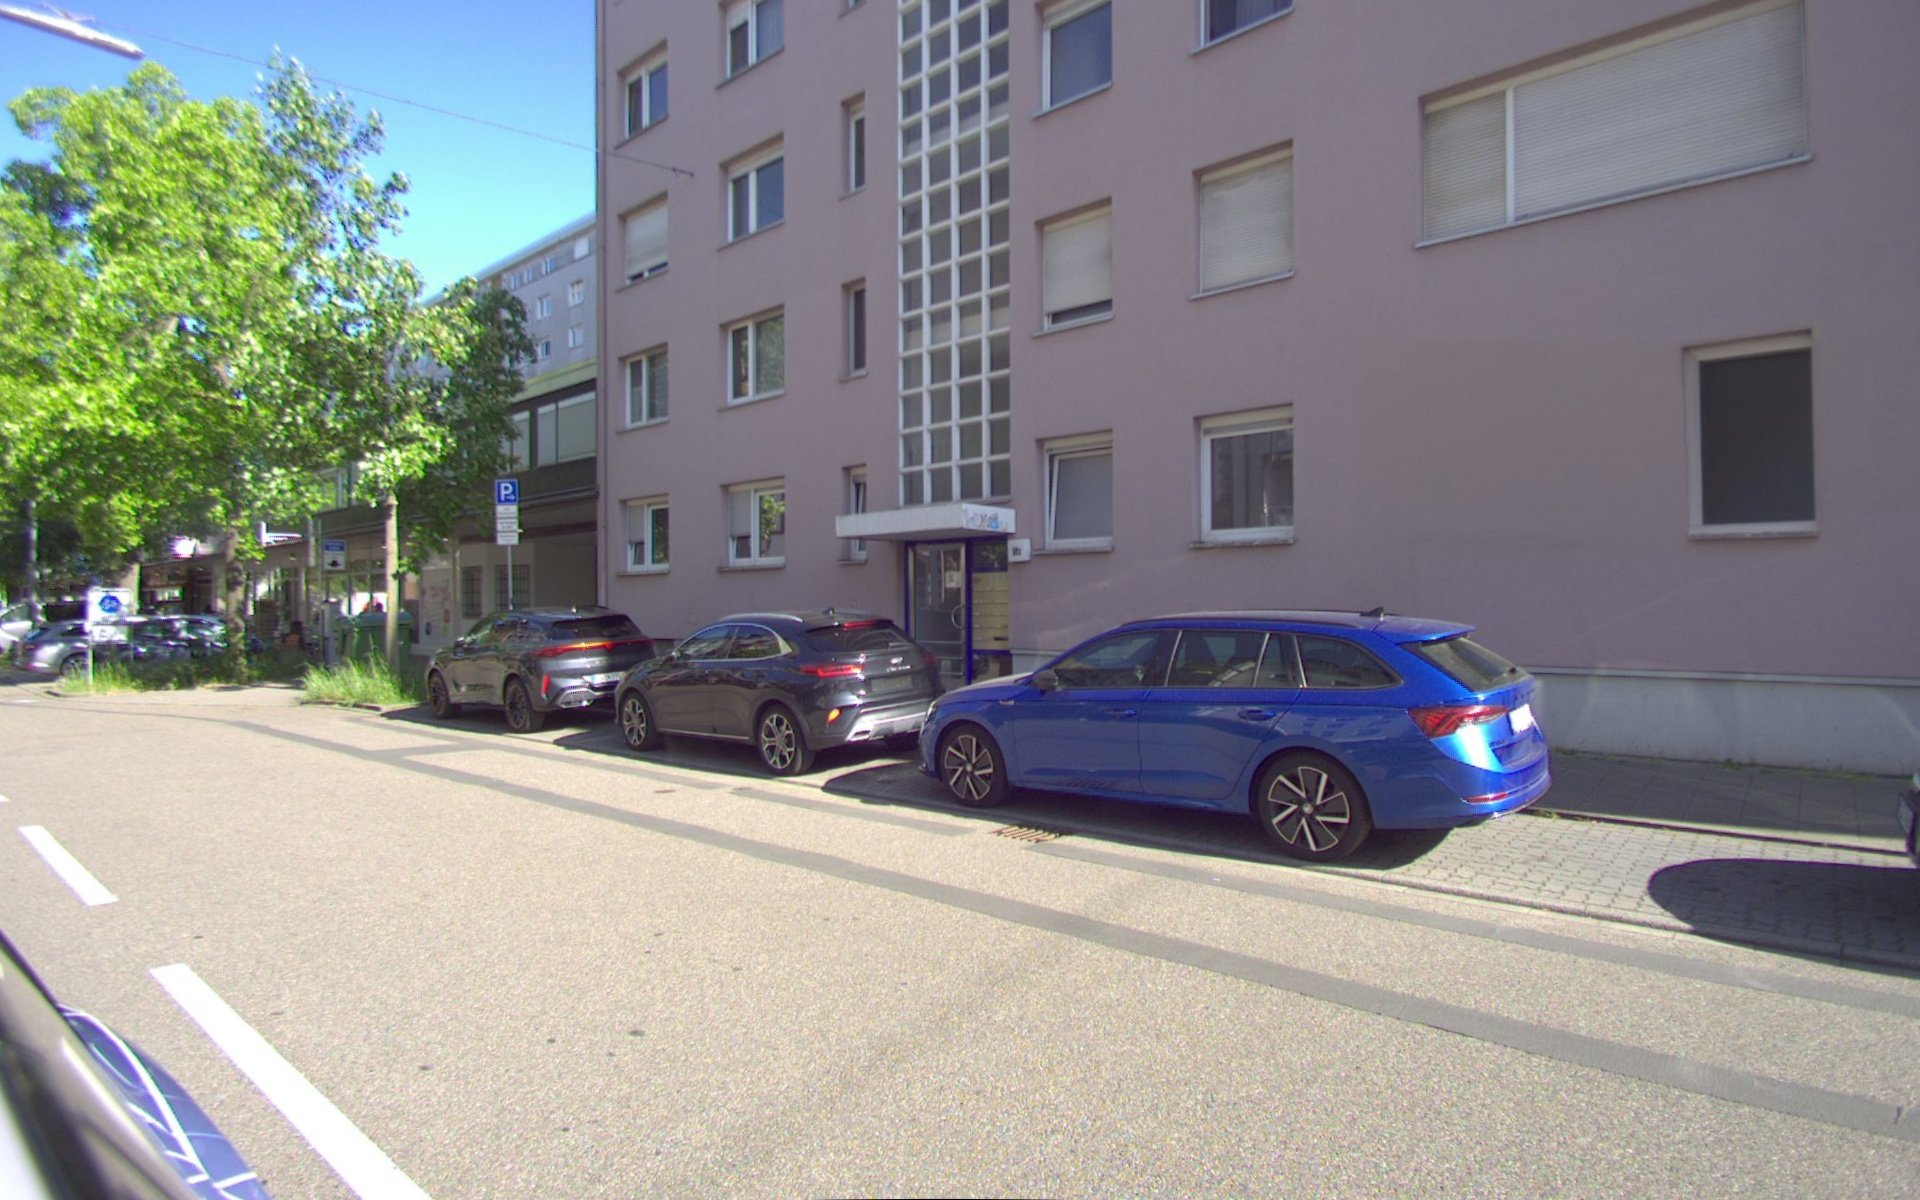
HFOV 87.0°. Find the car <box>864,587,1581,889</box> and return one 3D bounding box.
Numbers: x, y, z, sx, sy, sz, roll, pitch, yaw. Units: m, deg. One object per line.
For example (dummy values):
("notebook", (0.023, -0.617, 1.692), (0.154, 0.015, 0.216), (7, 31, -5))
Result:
("car", (1.644, 0.751, 7.474), (4.797, 1.514, 1.805), (-1, 1, 40))

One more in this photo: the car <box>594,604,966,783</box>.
("car", (-2.060, 0.847, 10.781), (4.157, 1.478, 1.704), (-1, 1, 43))

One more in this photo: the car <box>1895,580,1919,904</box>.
("car", (6.374, 0.636, 3.264), (4.797, 1.514, 1.805), (-1, 1, 40))

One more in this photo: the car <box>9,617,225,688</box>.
("car", (-20.908, 1.238, 25.191), (1.913, 1.564, 3.943), (-1, -1, 43))

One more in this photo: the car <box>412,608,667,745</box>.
("car", (-6.027, 0.960, 14.285), (4.157, 1.588, 1.704), (-1, 1, 43))

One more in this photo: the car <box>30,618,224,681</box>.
("car", (-22.940, 1.305, 27.966), (1.913, 1.564, 3.943), (-1, -1, 43))

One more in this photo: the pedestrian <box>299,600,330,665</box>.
("pedestrian", (-18.198, 0.914, 28.535), (0.502, 1.820, 0.615), (-1, -1, 42))

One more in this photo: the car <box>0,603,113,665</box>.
("car", (-31.596, 1.139, 34.617), (1.913, 2.058, 3.824), (-1, -1, 43))
